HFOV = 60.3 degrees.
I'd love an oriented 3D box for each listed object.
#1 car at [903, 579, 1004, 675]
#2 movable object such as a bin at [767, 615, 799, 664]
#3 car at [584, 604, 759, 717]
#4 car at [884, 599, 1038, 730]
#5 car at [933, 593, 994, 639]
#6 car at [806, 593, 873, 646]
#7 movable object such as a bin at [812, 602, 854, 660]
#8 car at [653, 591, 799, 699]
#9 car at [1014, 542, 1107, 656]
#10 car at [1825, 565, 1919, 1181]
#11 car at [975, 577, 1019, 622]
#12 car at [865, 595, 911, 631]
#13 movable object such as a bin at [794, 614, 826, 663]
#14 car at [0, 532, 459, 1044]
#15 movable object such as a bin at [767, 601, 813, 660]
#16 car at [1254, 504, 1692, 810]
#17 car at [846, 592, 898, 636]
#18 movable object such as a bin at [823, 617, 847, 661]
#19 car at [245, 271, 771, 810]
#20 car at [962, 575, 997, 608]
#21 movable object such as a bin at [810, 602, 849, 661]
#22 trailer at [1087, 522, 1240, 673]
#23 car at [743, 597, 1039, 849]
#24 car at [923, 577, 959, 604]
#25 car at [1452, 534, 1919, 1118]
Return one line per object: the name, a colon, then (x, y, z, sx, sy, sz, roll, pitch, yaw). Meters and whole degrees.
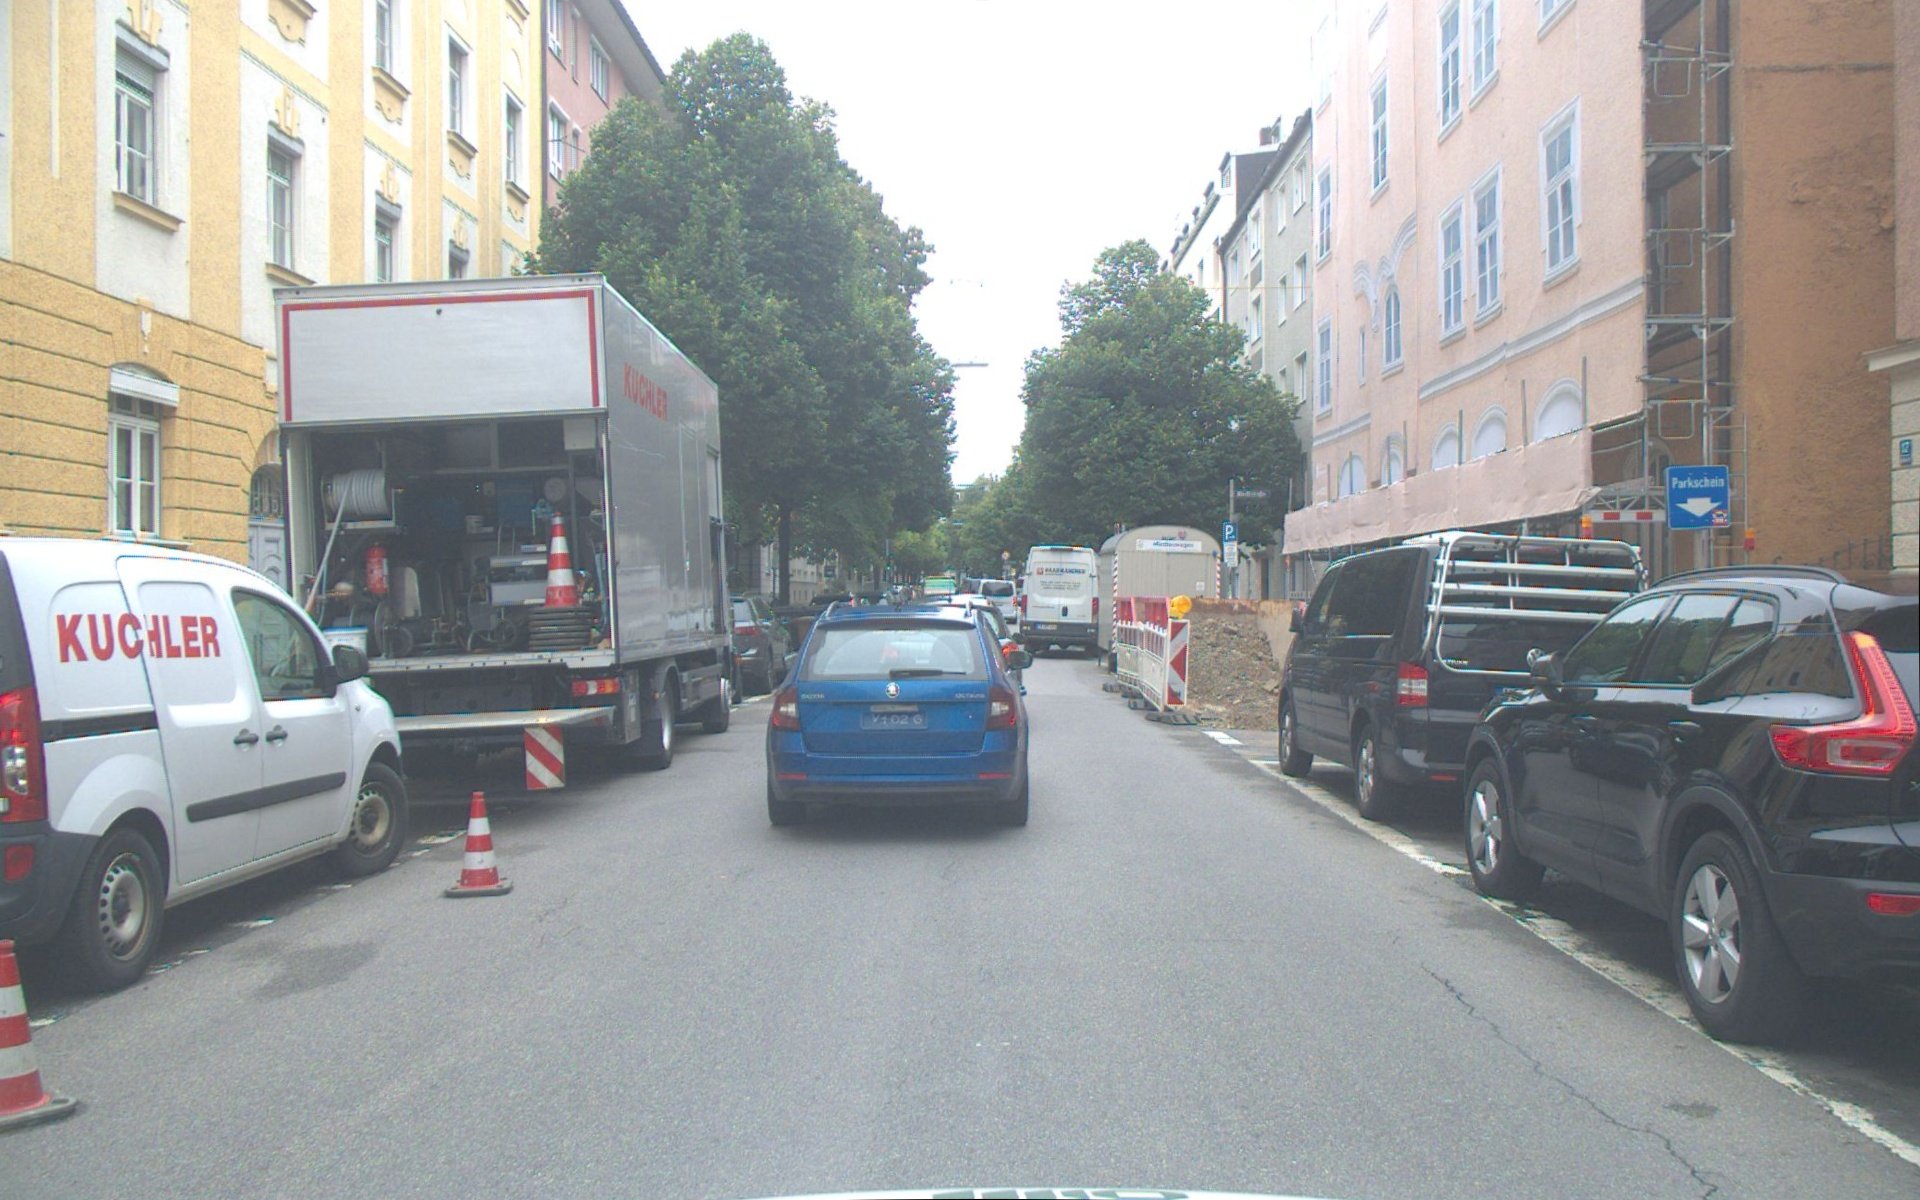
car: (-0.123, 0.473, 32.546, 1.829, 1.726, 4.347, 1, 1, 0)
movable object such as a bin: (-4.322, 0.963, 40.402, 0.706, 1.158, 0.658, -2, 0, -3)
car: (-3.961, 0.791, 23.252, 1.664, 1.434, 3.709, -1, 0, 2)
car: (0.004, 0.722, 20.206, 1.705, 1.446, 3.663, 0, 0, -1)
car: (0.063, 0.486, 53.948, 1.830, 1.371, 4.346, 1, 1, -2)
car: (-3.540, 0.551, 49.193, 1.775, 1.504, 3.999, 0, 0, -2)
movable object such as a bin: (-3.264, 0.787, 42.471, 1.000, 1.400, 1.103, -2, 0, -4)
car: (-3.881, 0.692, 28.061, 1.748, 1.656, 4.186, -1, 0, 1)
car: (2.659, -0.016, 42.571, 2.068, 2.710, 5.504, 1, 0, 6)
car: (3.425, 0.713, 1.901, 1.891, 1.580, 5.636, 0, 0, 0)
car: (1.630, -0.049, 73.777, 1.829, 1.902, 4.347, 1, 1, 0)
car: (-3.105, 0.547, 71.968, 1.775, 1.504, 4.000, 0, 0, 0)
movable object such as a bin: (-3.668, 0.935, 40.457, 0.697, 1.168, 0.636, -2, 0, -3)
car: (-4.042, 0.696, 8.046, 1.726, 1.810, 4.327, -2, 0, 1)
movable object such as a bin: (-4.237, 0.751, 41.289, 1.060, 1.400, 1.083, -2, 0, -4)
car: (3.785, 0.465, 13.306, 2.039, 1.955, 5.140, 1, -2, 1)
car: (-3.156, 0.485, 59.926, 1.775, 1.504, 3.999, 0, 0, -2)
movable object such as a bin: (-3.062, 0.951, 40.519, 0.535, 1.038, 0.636, -2, 0, -3)
car: (-3.792, -0.435, 16.395, 2.755, 3.884, 8.723, -1, 0, 0)
car: (1.034, -0.451, 88.063, 1.829, 1.682, 4.348, 1, 1, 0)
movable object such as a bin: (-3.260, 0.776, 41.373, 0.900, 1.400, 1.079, -2, 0, -4)
trailer: (4.214, -0.035, 35.475, 2.451, 2.889, 6.901, 1, 0, 0)
car: (-0.354, 0.734, 12.023, 1.752, 1.486, 4.315, -1, 0, 2)
car: (-1.269, -0.634, 106.777, 1.969, 1.682, 4.343, 1, 1, -5)
car: (3.559, 0.708, 7.049, 1.658, 1.706, 4.408, 3, 0, 1)
